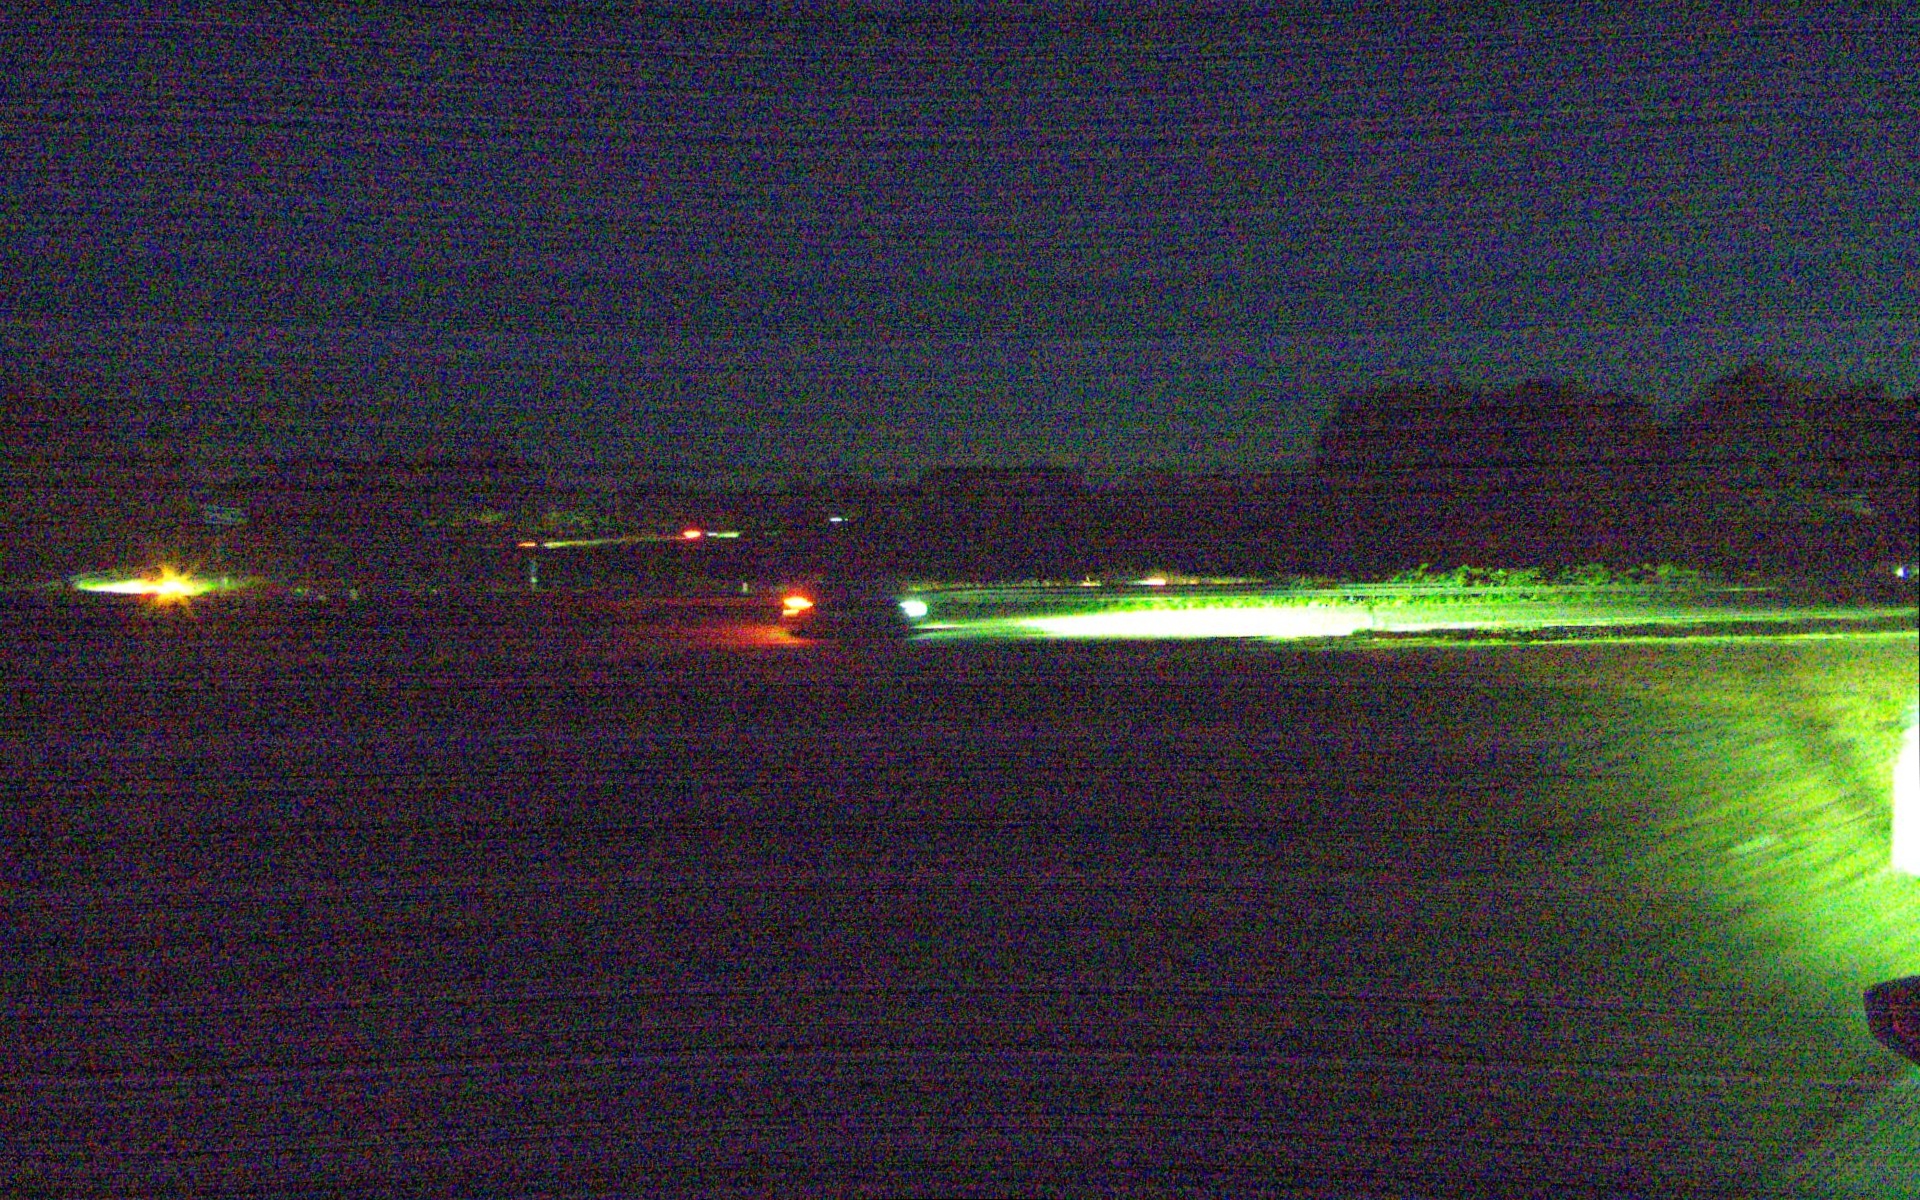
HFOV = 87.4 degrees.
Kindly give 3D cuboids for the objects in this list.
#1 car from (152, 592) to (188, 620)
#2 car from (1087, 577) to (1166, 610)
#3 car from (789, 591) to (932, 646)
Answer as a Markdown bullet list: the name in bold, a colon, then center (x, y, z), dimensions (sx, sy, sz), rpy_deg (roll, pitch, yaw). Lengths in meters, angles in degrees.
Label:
- **car**: center (-52.200, 0.391, 66.421), dimensions (1.860, 1.808, 3.957), rpy_deg (0, 0, -38)
- **car**: center (9.227, -0.347, 55.806), dimensions (3.932, 1.781, 1.783), rpy_deg (-1, 1, -14)
- **car**: center (-3.345, 0.571, 33.508), dimensions (4.563, 1.630, 1.941), rpy_deg (-1, 4, -13)
